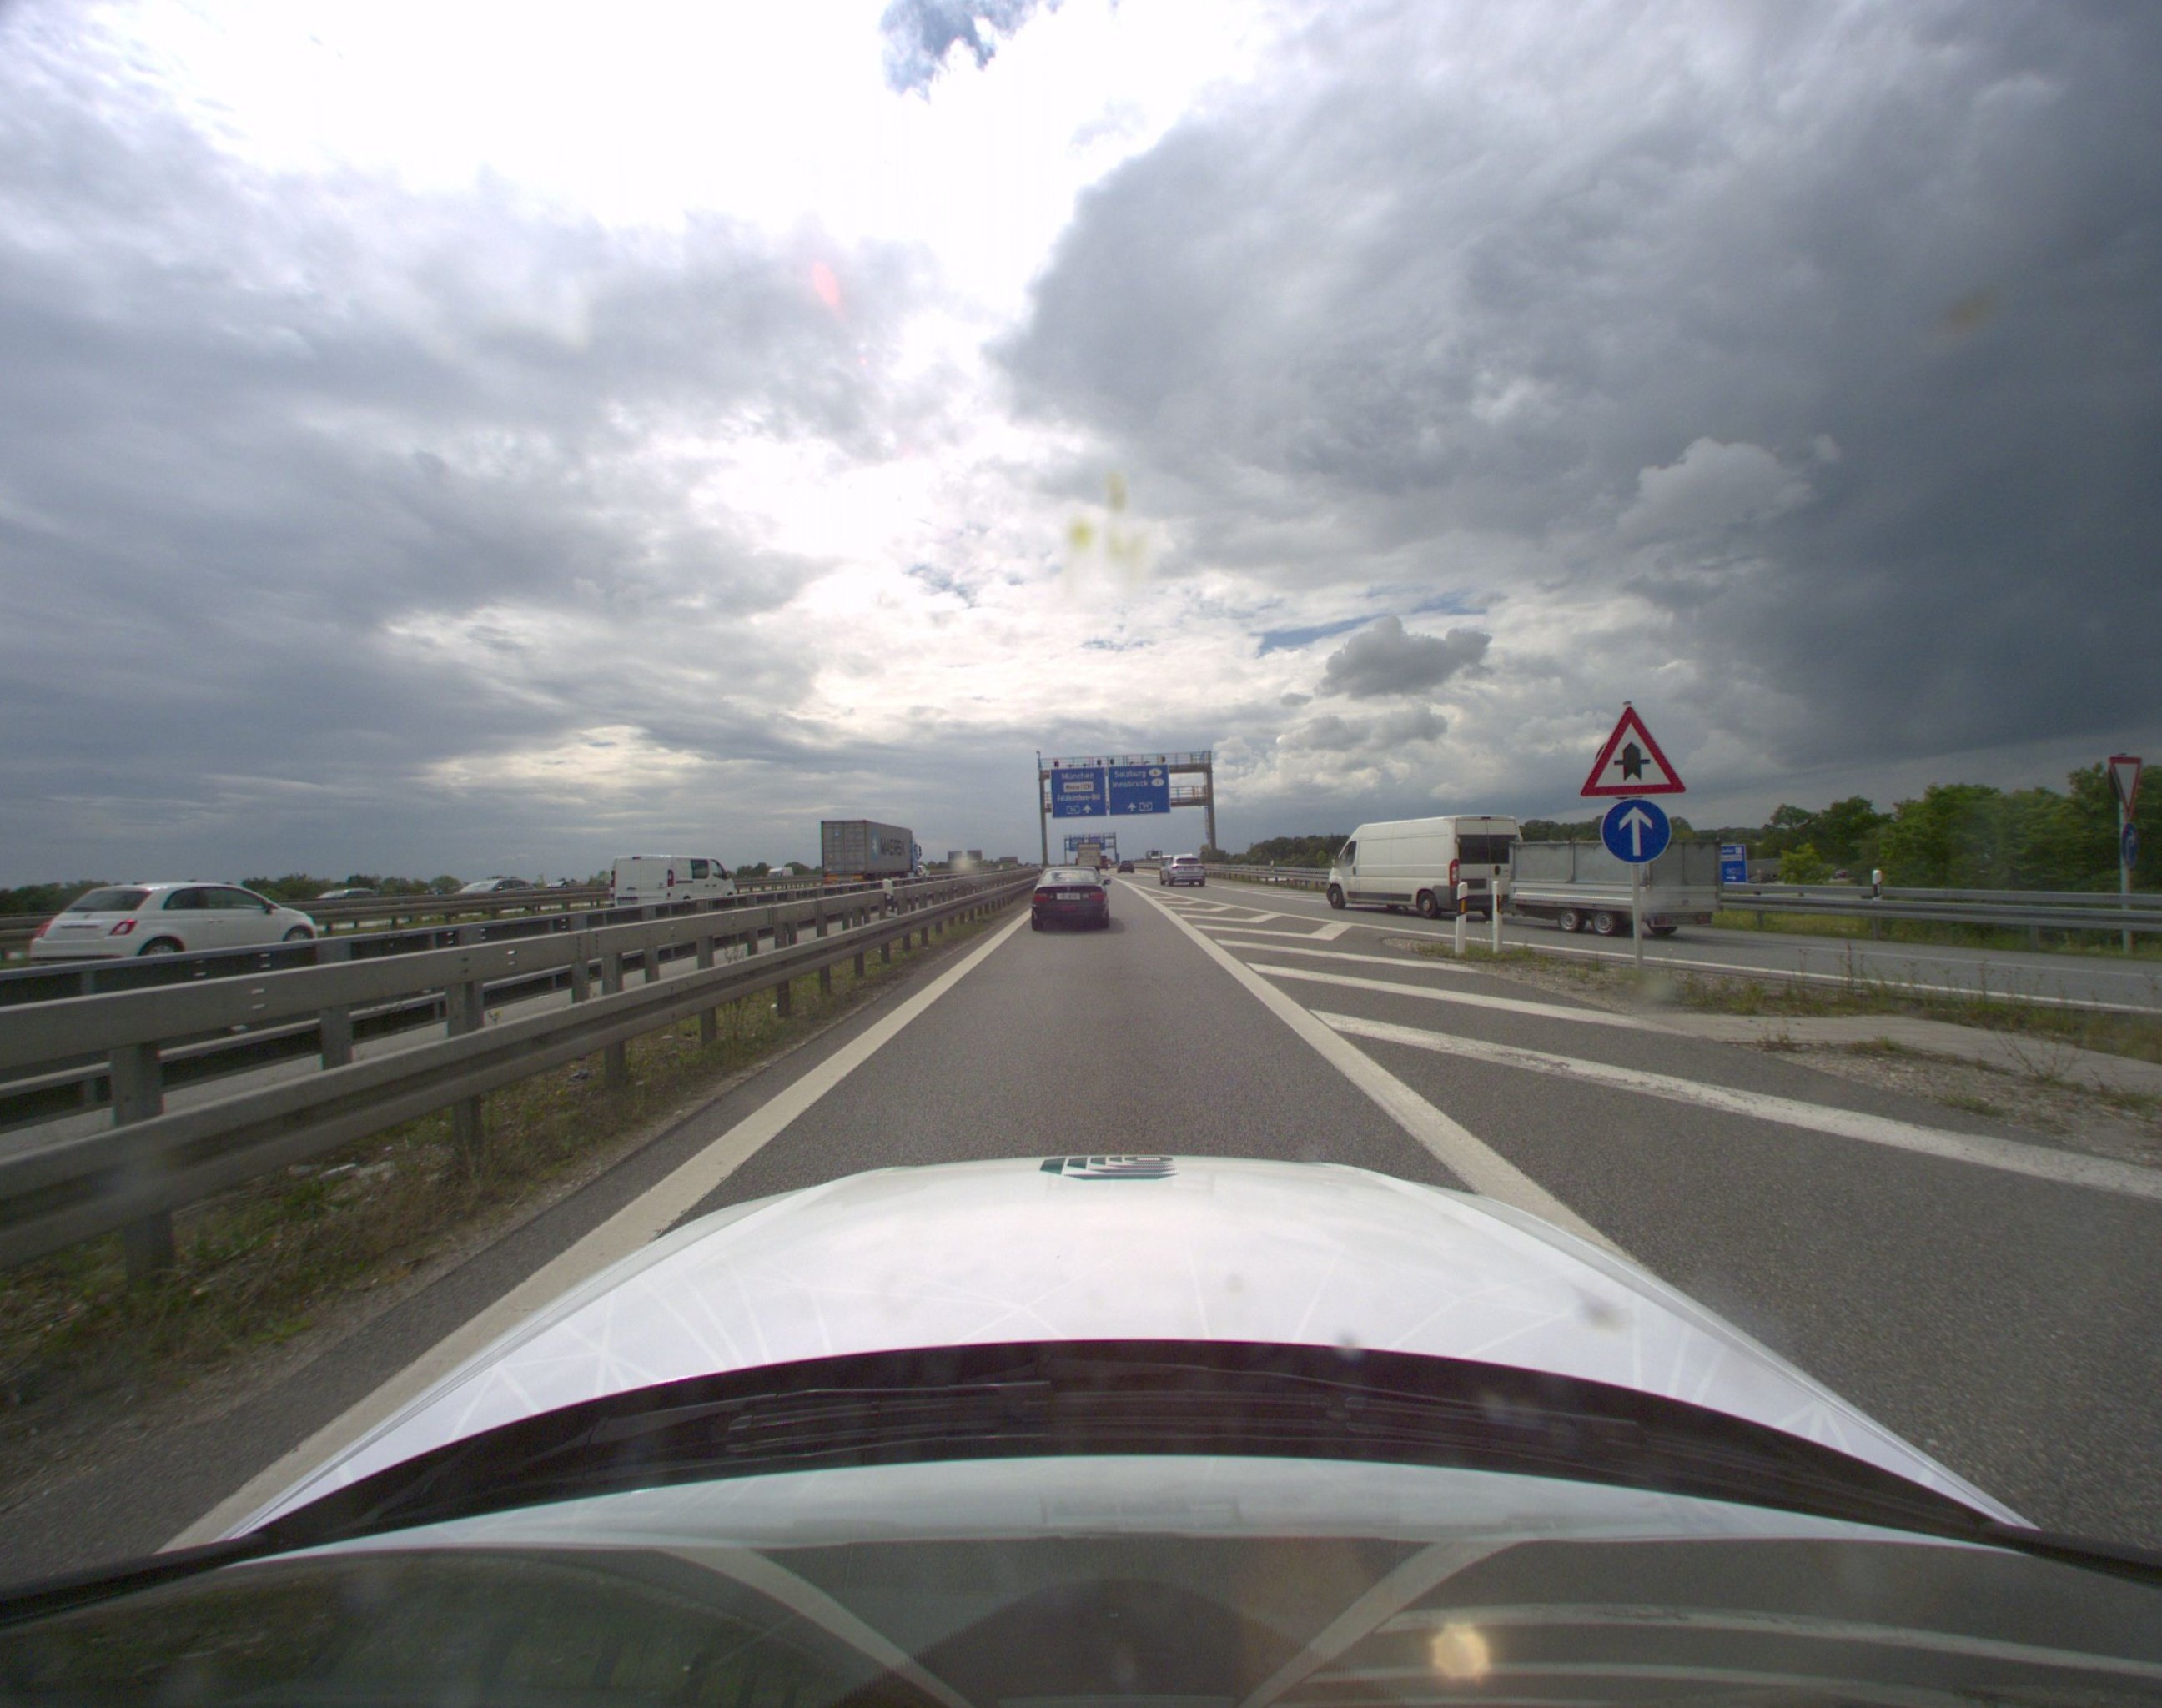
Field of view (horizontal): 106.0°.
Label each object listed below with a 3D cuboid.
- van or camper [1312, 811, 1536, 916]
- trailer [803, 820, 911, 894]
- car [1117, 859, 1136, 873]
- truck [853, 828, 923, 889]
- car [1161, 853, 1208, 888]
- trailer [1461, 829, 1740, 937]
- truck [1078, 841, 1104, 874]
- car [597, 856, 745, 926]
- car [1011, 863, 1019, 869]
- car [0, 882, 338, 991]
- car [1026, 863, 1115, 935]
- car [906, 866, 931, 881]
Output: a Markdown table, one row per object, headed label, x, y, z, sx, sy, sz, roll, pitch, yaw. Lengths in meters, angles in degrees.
| label | x | y | z | sx | sy | sz | roll | pitch | yaw |
| --- | --- | --- | --- | --- | --- | --- | --- | --- | --- |
| van or camper | 8.639 | 0.234 | 21.353 | 2.228 | 2.361 | 5.908 | -1 | -1 | -15 |
| trailer | -13.230 | 0.213 | 49.530 | 3.227 | 3.924 | 12.374 | -1 | -1 | -1 |
| car | 5.020 | 1.324 | 89.721 | 1.986 | 1.552 | 4.001 | -1 | -1 | 1 |
| truck | -13.283 | 0.302 | 56.554 | 3.237 | 3.911 | 6.607 | -1 | 0 | -1 |
| car | 5.457 | 0.854 | 43.420 | 1.930 | 1.684 | 4.208 | -2 | 0 | 0 |
| trailer | 10.092 | 0.516 | 16.327 | 1.998 | 1.841 | 4.481 | -1 | -1 | -17 |
| truck | 1.000 | 0.337 | 79.414 | 2.396 | 3.090 | 6.371 | -1 | 0 | 1 |
| car | -12.667 | 1.068 | 25.633 | 1.993 | 1.938 | 5.131 | -2 | -1 | 0 |
| car | -17.274 | 3.159 | 213.724 | 1.887 | 1.597 | 4.414 | -1 | -1 | -2 |
| car | -15.553 | 1.312 | 14.244 | 1.676 | 1.484 | 3.771 | -3 | -1 | -2 |
| car | -0.174 | 0.933 | 18.485 | 1.776 | 1.378 | 4.137 | -1 | 0 | 1 |
| car | -16.614 | 1.992 | 83.458 | 1.748 | 1.369 | 4.202 | -2 | -1 | -2 |
